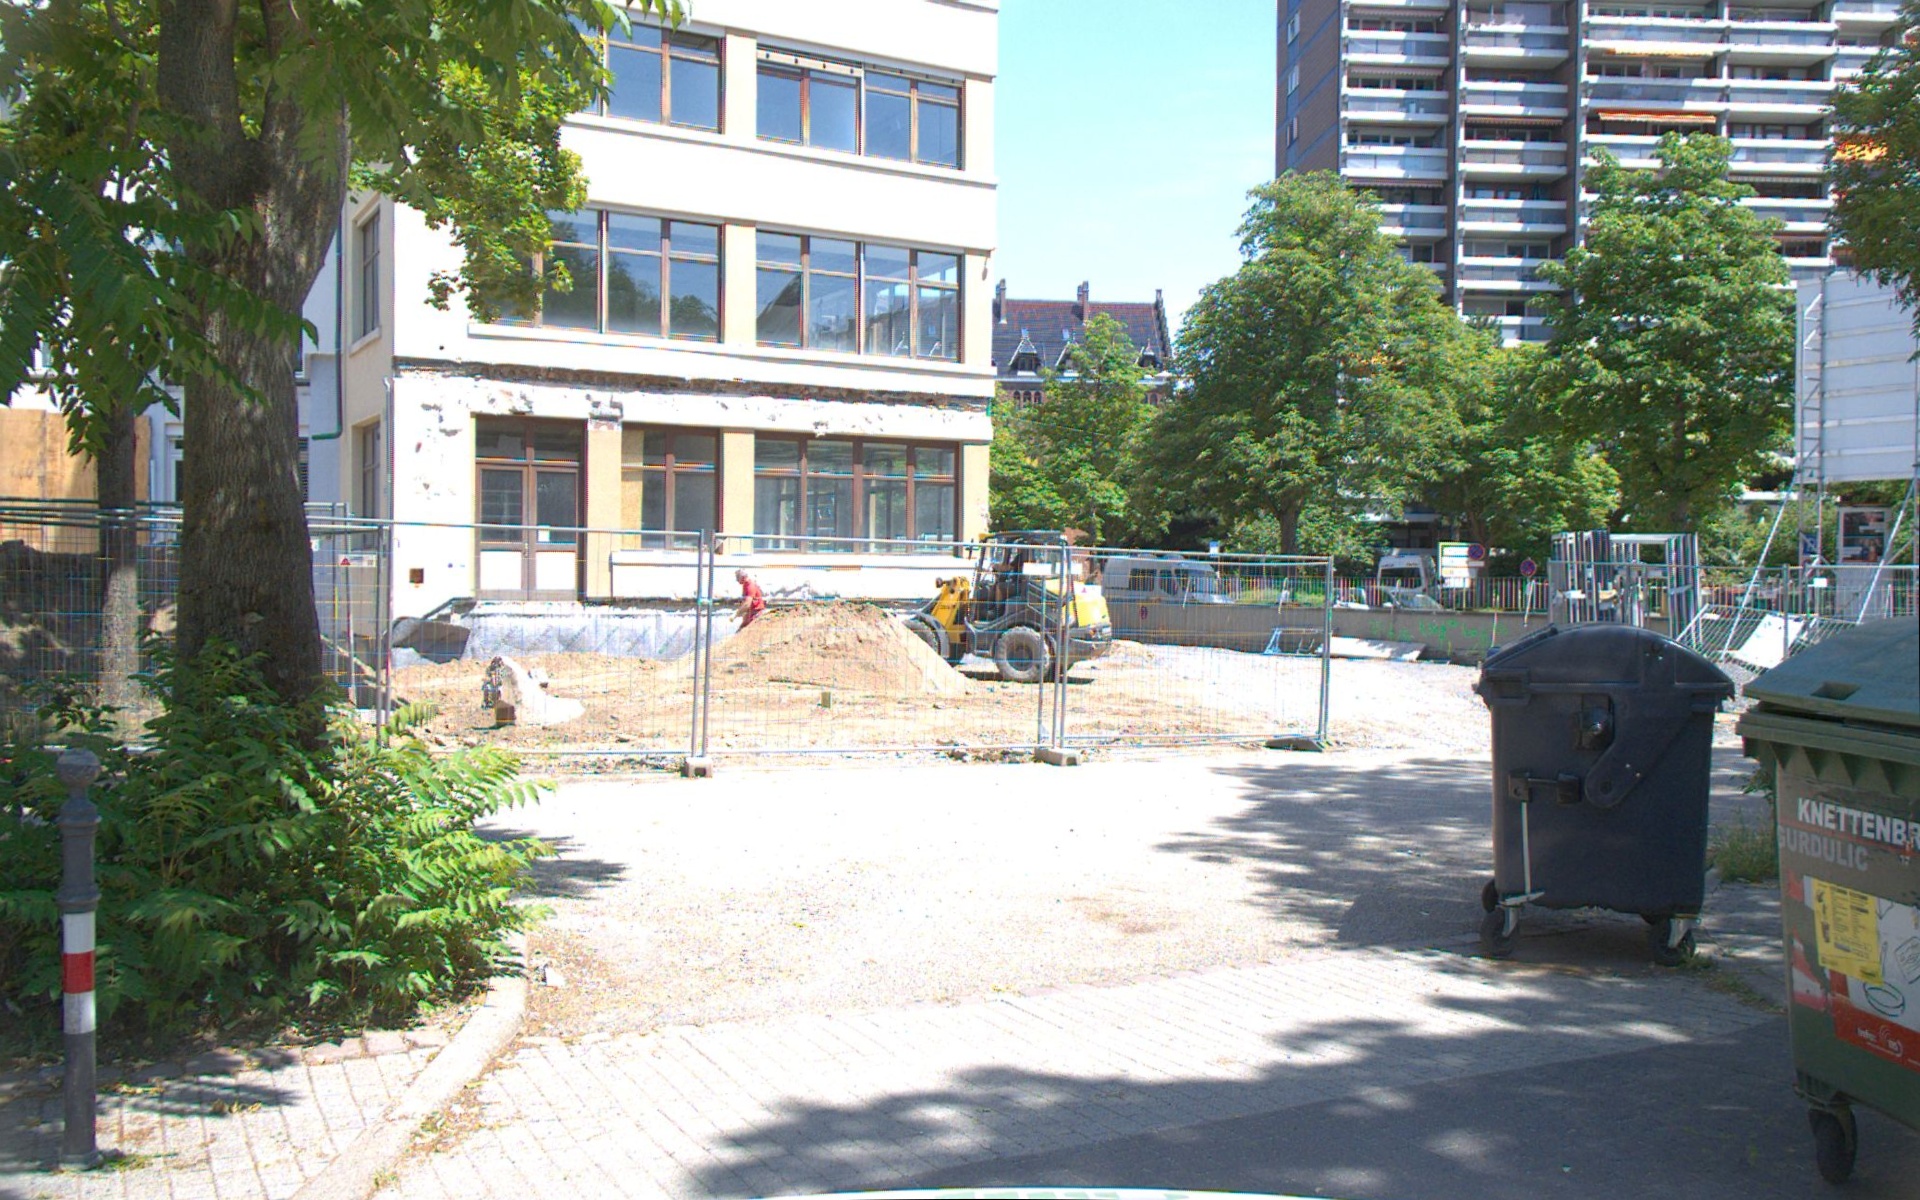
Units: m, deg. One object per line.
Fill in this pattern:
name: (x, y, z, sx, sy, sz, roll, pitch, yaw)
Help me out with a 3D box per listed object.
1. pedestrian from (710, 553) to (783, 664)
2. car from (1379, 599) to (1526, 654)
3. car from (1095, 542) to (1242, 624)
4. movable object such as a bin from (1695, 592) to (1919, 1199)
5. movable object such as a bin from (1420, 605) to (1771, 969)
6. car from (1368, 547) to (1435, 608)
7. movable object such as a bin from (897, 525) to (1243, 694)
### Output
pedestrian: (-3.699, 0.142, 28.727, 0.895, 1.879, 0.986, 0, 0, 21)
car: (12.668, 0.649, 42.516, 3.675, 1.343, 1.597, 0, 0, -31)
car: (6.594, -0.541, 52.875, 1.973, 2.458, 5.190, 0, 0, -30)
movable object such as a bin: (2.612, 0.727, 3.995, 1.053, 1.483, 1.377, 0, 0, -1)
movable object such as a bin: (2.814, 0.775, 7.509, 1.053, 1.483, 1.377, 0, 0, -1)
car: (17.447, -0.860, 65.157, 2.139, 2.297, 4.870, 0, 0, 20)
movable object such as a bin: (1.857, 0.095, 27.883, 5.294, 2.507, 2.367, 2, 1, 23)
